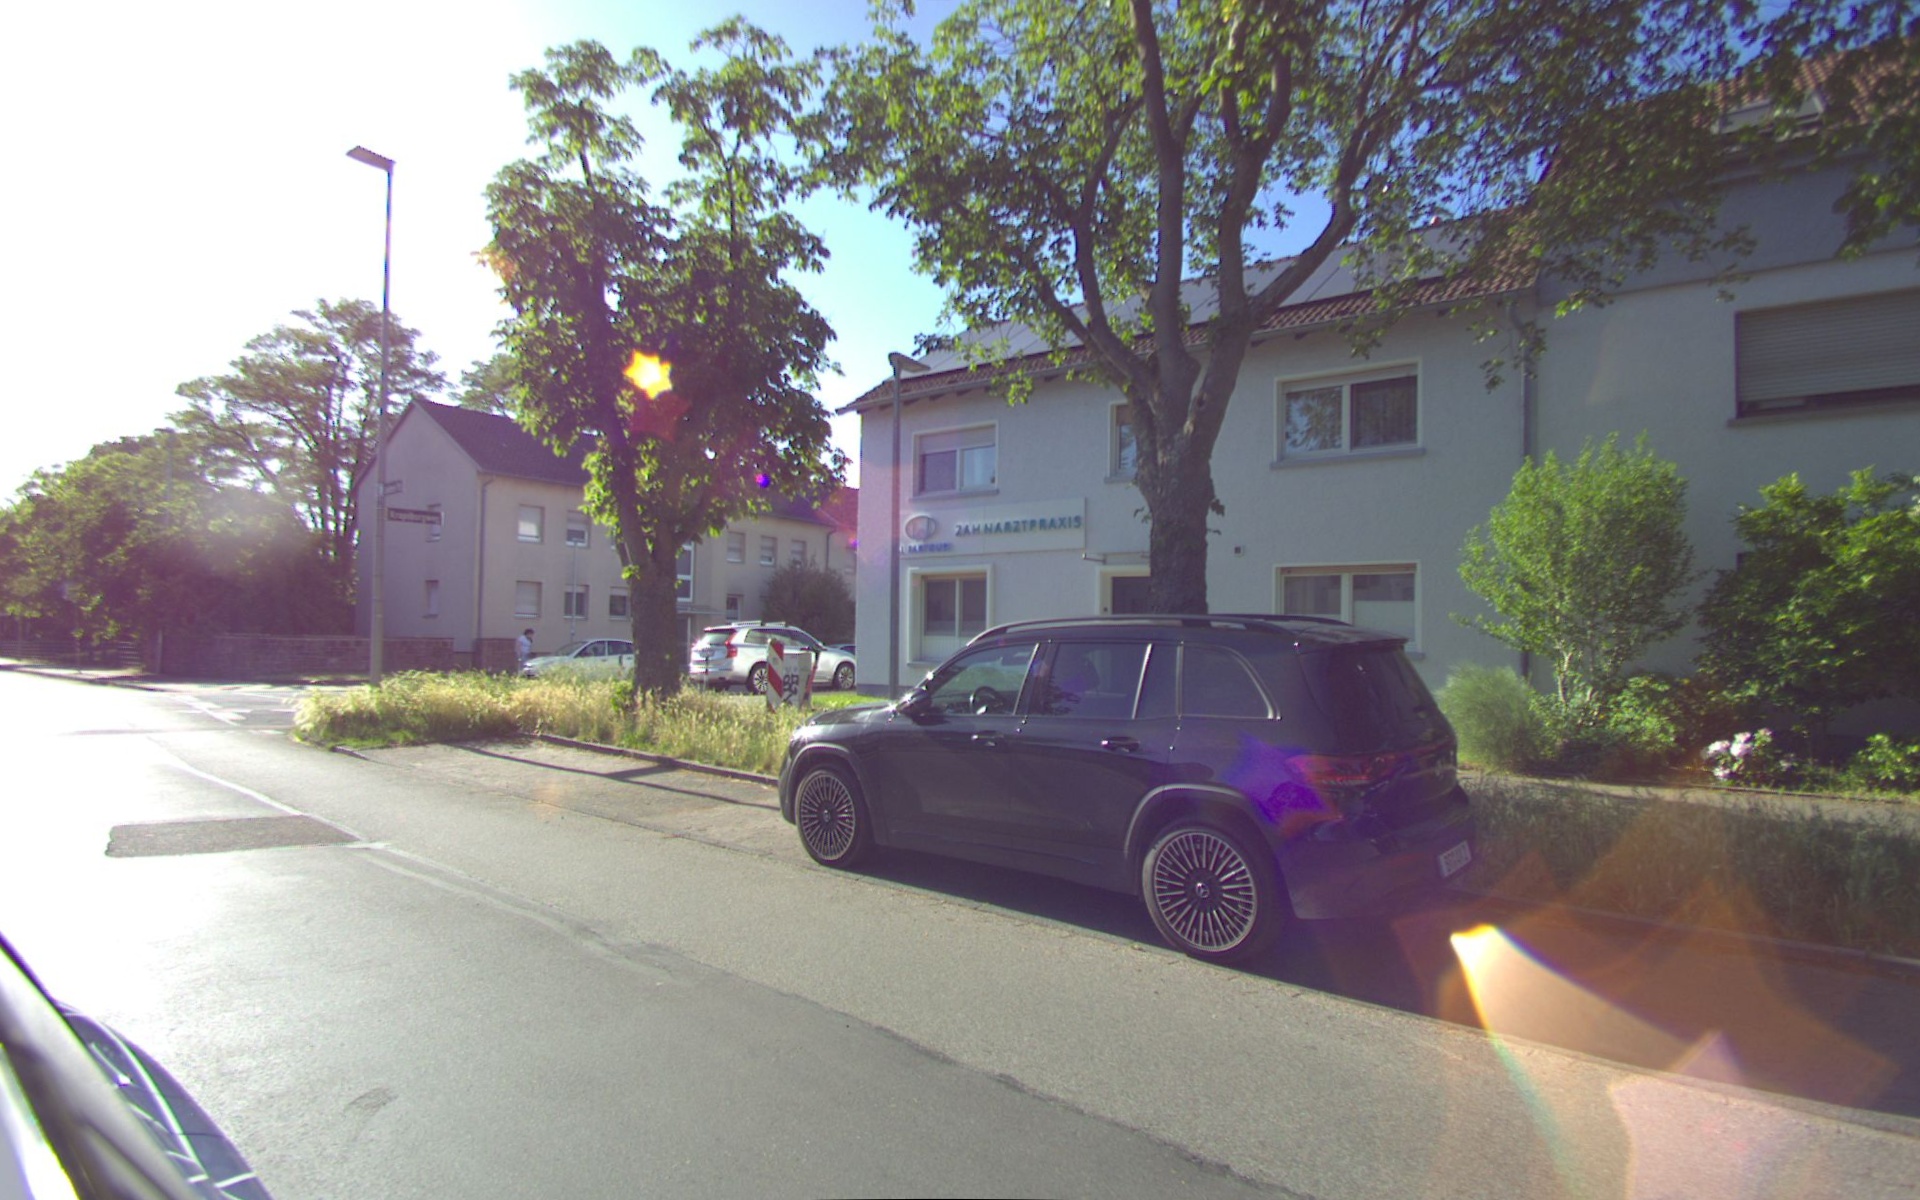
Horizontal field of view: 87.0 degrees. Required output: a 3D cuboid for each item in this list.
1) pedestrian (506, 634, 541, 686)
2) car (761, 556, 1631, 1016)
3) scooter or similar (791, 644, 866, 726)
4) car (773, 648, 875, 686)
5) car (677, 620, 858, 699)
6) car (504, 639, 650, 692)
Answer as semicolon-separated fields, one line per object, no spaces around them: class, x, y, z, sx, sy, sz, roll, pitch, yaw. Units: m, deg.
pedestrian;-13.677;1.871;31.710;0.638;1.565;0.776;-3;-3;37
car;1.051;0.737;6.198;4.873;1.740;1.933;-1;-1;42
scooter or similar;-1.681;1.065;12.887;0.996;1.008;0.332;-1;-4;37
car;-5.226;2.581;39.278;1.867;1.407;3.732;-3;-4;36
car;-4.939;1.571;26.438;1.997;1.852;4.446;-5;-5;37
car;-11.527;1.975;30.647;1.868;1.490;3.729;-4;-5;38
